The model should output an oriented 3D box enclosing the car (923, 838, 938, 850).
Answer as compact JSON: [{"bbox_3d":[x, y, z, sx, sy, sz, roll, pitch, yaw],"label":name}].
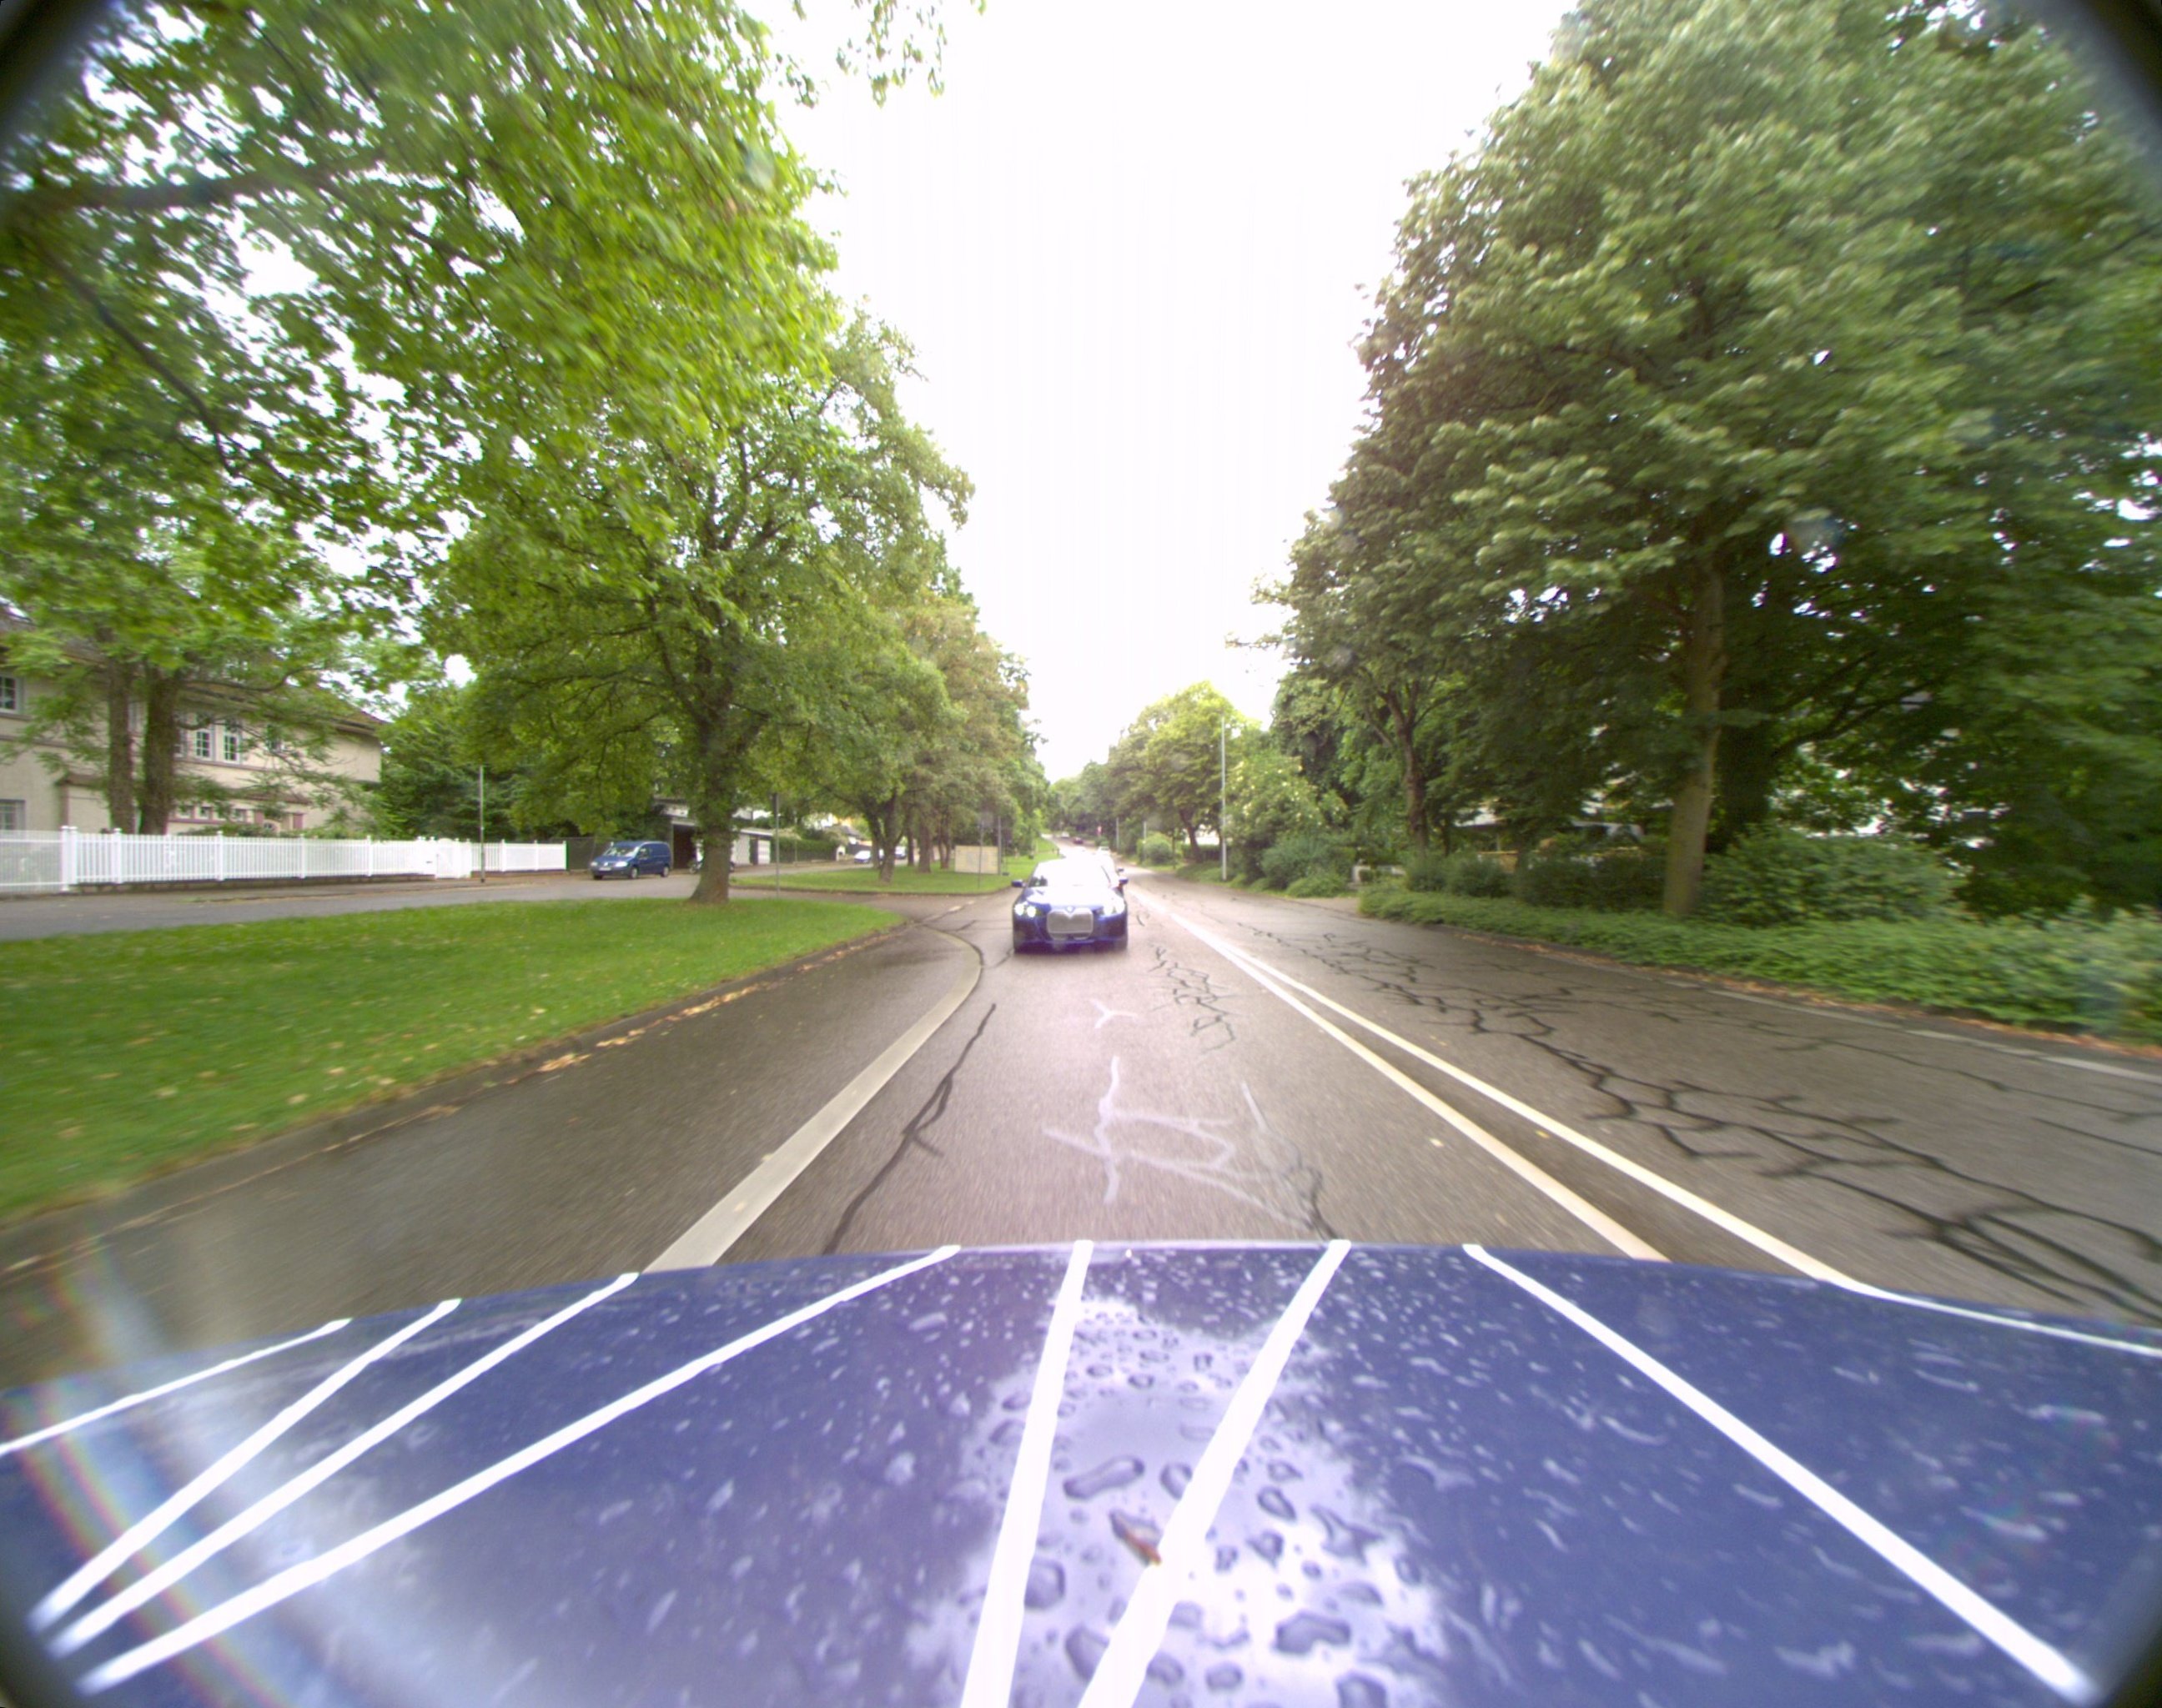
[{"bbox_3d":[-26.857,-1.816,135.627,1.999,2.002,3.998,0,1,-3],"label":"car"}]

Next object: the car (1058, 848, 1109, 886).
[{"bbox_3d":[0.084,0.515,32.961,2.032,1.471,4.066,-2,1,-1],"label":"car"}]

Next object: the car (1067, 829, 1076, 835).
[{"bbox_3d":[-2.228,-5.273,181.525,1.825,1.471,4.067,0,1,2],"label":"car"}]

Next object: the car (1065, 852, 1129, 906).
[{"bbox_3d":[0.438,0.737,24.371,1.826,1.471,4.066,-2,1,-1],"label":"car"}]

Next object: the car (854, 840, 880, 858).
[{"bbox_3d":[-24.653,-0.573,87.631,1.999,2.002,3.999,0,1,-1],"label":"car"}]

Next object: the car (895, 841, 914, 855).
[{"bbox_3d":[-25.906,-0.838,111.906,1.999,2.001,4.000,0,-1,-3],"label":"car"}]

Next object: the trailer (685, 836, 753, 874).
[{"bbox_3d":[-21.694,-0.001,45.777,1.771,2.104,5.191,-2,1,-3],"label":"trailer"}]

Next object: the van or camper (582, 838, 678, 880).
[{"bbox_3d":[-21.335,0.173,36.191,1.999,1.798,4.773,-2,1,-5],"label":"van or camper"}]

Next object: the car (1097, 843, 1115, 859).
[{"bbox_3d":[3.178,-0.374,97.281,1.999,2.001,4.573,0,-1,-3],"label":"car"}]

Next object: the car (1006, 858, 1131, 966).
[{"bbox_3d":[-0.210,0.883,13.443,1.826,1.471,4.066,-2,1,-1],"label":"car"}]
